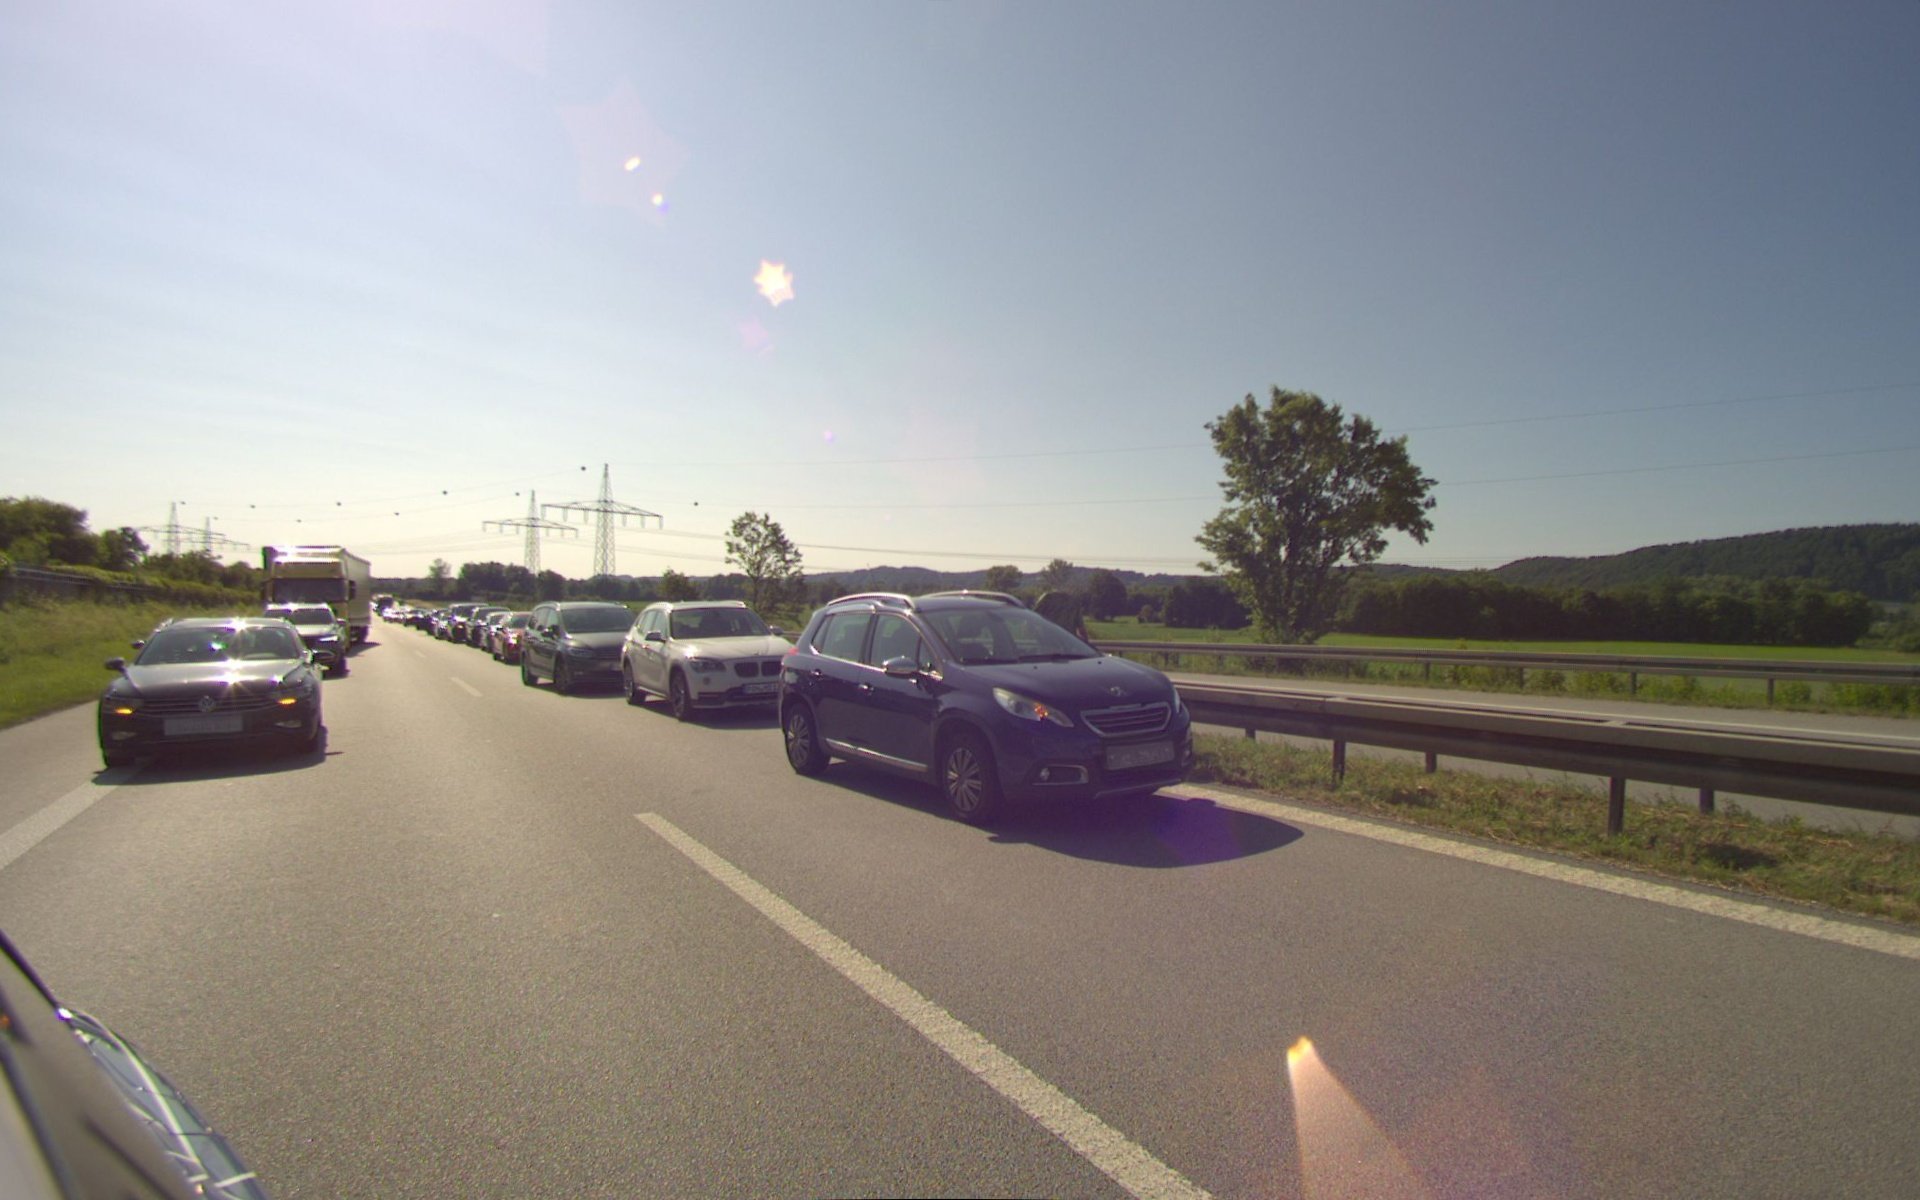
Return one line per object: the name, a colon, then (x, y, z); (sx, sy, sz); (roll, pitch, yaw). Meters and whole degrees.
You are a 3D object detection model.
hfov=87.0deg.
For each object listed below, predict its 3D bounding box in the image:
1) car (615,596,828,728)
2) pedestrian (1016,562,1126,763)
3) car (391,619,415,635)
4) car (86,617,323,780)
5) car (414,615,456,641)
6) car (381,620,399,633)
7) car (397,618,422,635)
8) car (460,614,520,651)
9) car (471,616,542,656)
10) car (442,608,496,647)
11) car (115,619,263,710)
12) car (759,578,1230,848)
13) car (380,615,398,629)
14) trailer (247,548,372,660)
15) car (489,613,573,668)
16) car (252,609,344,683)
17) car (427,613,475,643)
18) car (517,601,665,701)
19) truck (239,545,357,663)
car: (-3.555, 0.784, 14.480); (1.802, 1.586, 4.176); (0, -1, -31)
pedestrian: (1.021, 0.553, 9.403); (0.661, 1.763, 0.817); (1, -1, -31)
car: (-52.760, 2.538, 95.850); (1.790, 1.470, 4.129); (-2, 0, -31)
car: (-8.283, 0.933, 11.458); (1.689, 1.424, 4.338); (-1, 0, -31)
car: (-32.317, 1.705, 62.261); (1.966, 1.542, 4.011); (0, -1, -32)
car: (-66.515, 3.049, 118.022); (1.790, 1.470, 4.130); (1, -1, -30)
car: (-48.243, 2.332, 88.709); (1.790, 1.470, 4.130); (1, -1, -30)
car: (-19.782, 1.350, 42.494); (1.863, 1.466, 4.012); (0, -1, -31)
car: (-16.711, 1.284, 37.213); (1.864, 1.409, 4.011); (0, -1, -32)
car: (-23.480, 1.293, 48.314); (1.871, 1.801, 4.212); (1, -1, -32)
car: (-14.149, 1.093, 18.790); (1.689, 1.436, 4.338); (-1, 0, -31)
car: (0.003, 0.676, 7.993); (1.665, 1.546, 3.959); (-2, 0, -34)
car: (-71.172, 2.734, 126.165); (1.783, 1.807, 3.784); (0, -1, -31)
trailer: (-28.308, 0.158, 44.737); (3.332, 4.144, 13.997); (-1, 0, -28)
car: (-12.571, 1.139, 29.516); (1.790, 1.470, 4.130); (1, -1, -30)
car: (-16.297, 1.066, 25.069); (1.689, 1.636, 4.338); (-1, 0, -31)
car: (-27.386, 1.471, 54.355); (1.966, 1.542, 4.012); (0, -1, -32)
car: (-7.010, 0.879, 18.975); (1.790, 1.628, 4.129); (-1, 0, -32)
truck: (-25.484, 0.121, 39.296); (3.279, 4.144, 6.991); (-1, 0, -29)
